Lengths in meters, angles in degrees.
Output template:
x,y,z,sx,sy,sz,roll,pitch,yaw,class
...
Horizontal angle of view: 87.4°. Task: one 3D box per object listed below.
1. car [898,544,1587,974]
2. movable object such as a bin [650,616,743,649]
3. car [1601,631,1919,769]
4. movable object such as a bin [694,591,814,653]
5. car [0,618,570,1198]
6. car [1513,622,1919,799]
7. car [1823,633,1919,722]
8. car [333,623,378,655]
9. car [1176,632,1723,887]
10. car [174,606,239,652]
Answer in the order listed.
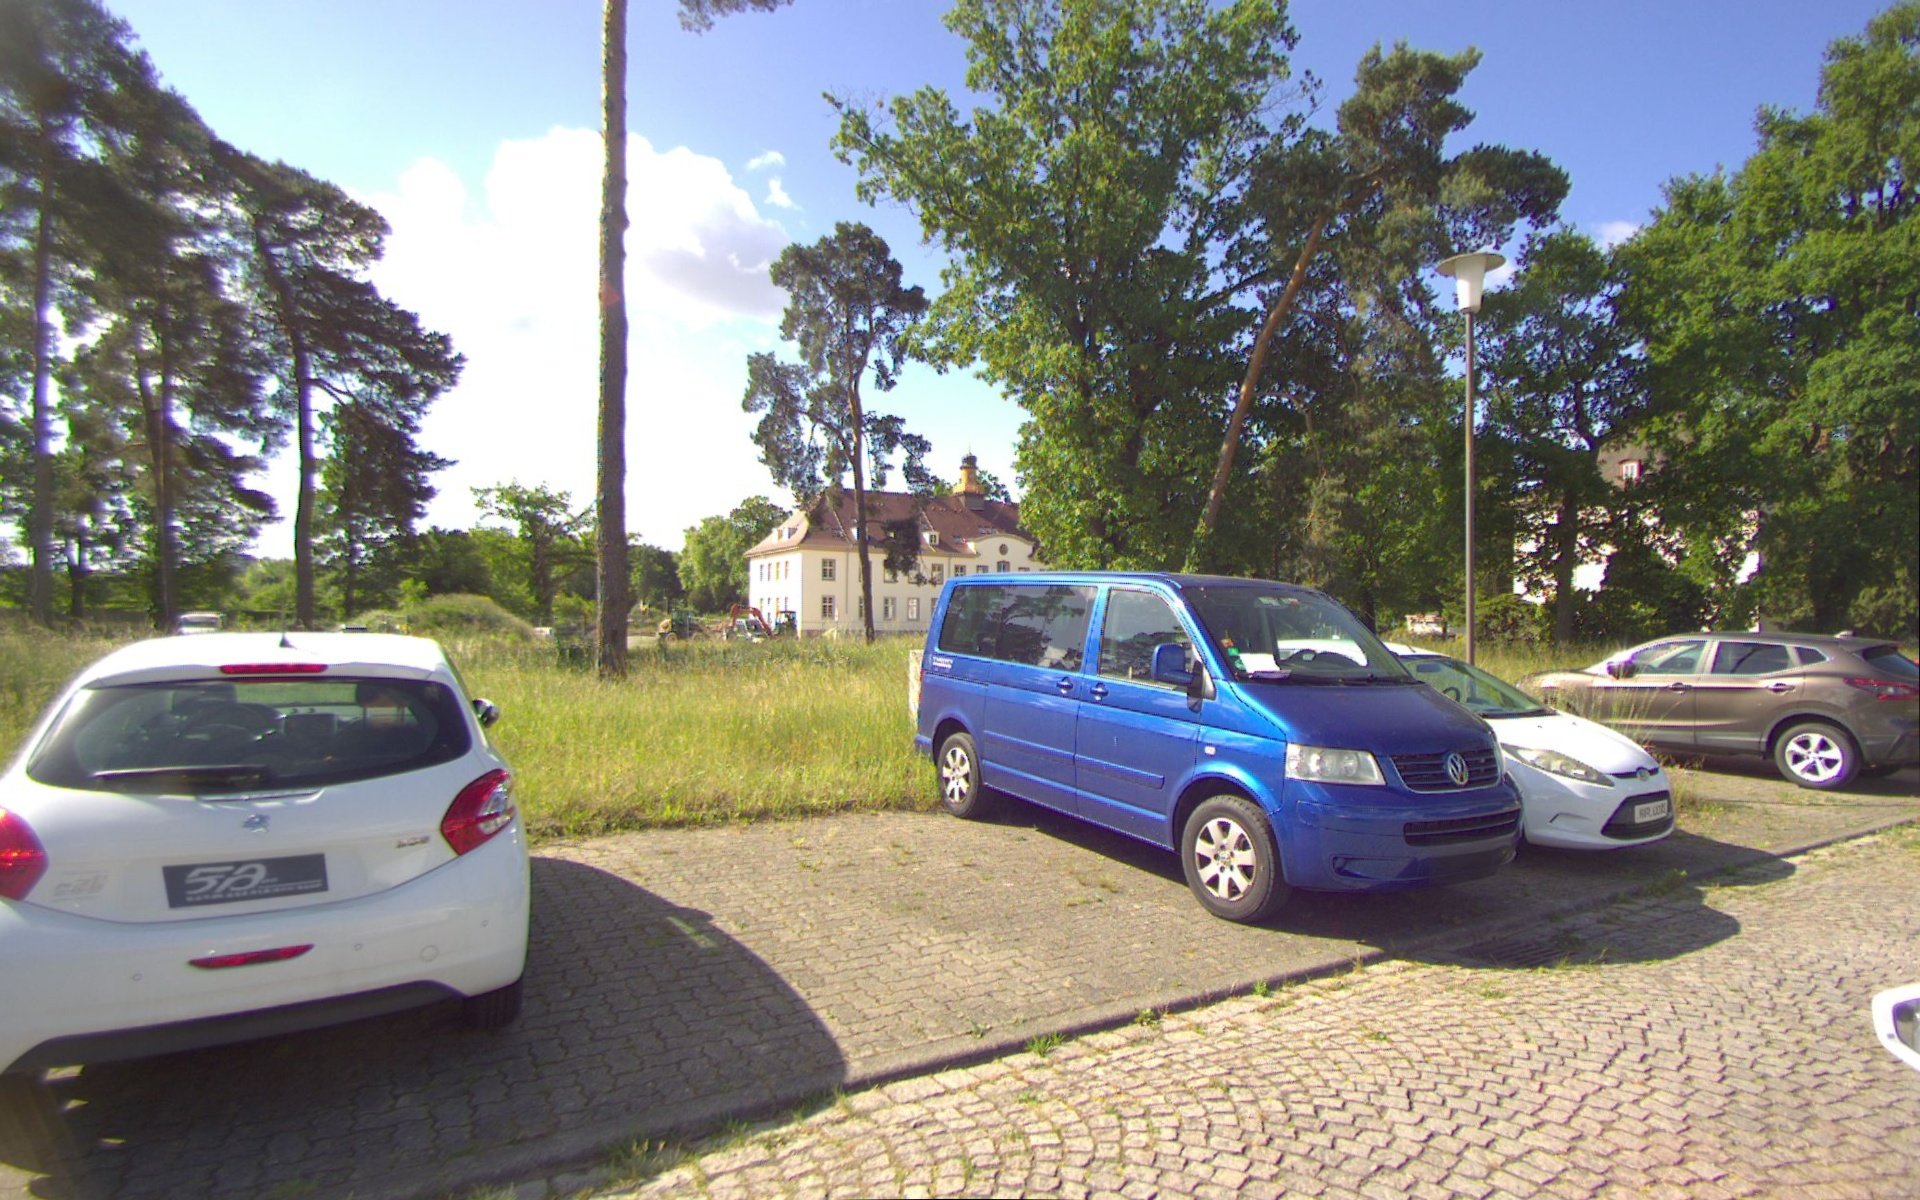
x,y,z,sx,sy,sz,roll,pitch,yaw,class
1.500,0.740,7.204,1.982,1.994,4.695,2,0,-30,car
-17.863,2.206,68.235,5.565,2.153,2.530,0,-2,15,movable object such as a bin
11.173,1.234,13.497,1.846,1.468,3.902,1,0,-31,car
-13.223,1.482,65.003,3.867,3.780,6.770,-1,-2,35,movable object such as a bin
-3.174,0.881,4.824,1.802,1.495,4.176,1,0,-30,car
9.010,1.109,11.845,1.952,1.589,3.932,0,0,-32,car
17.656,1.381,17.277,1.821,1.480,3.902,1,0,-31,car
-32.740,2.107,54.472,1.889,1.626,4.211,1,-2,-29,car
3.778,1.075,8.385,1.665,1.459,3.793,2,0,-33,car
-38.150,1.490,50.942,1.933,2.192,4.825,1,-2,-29,car
